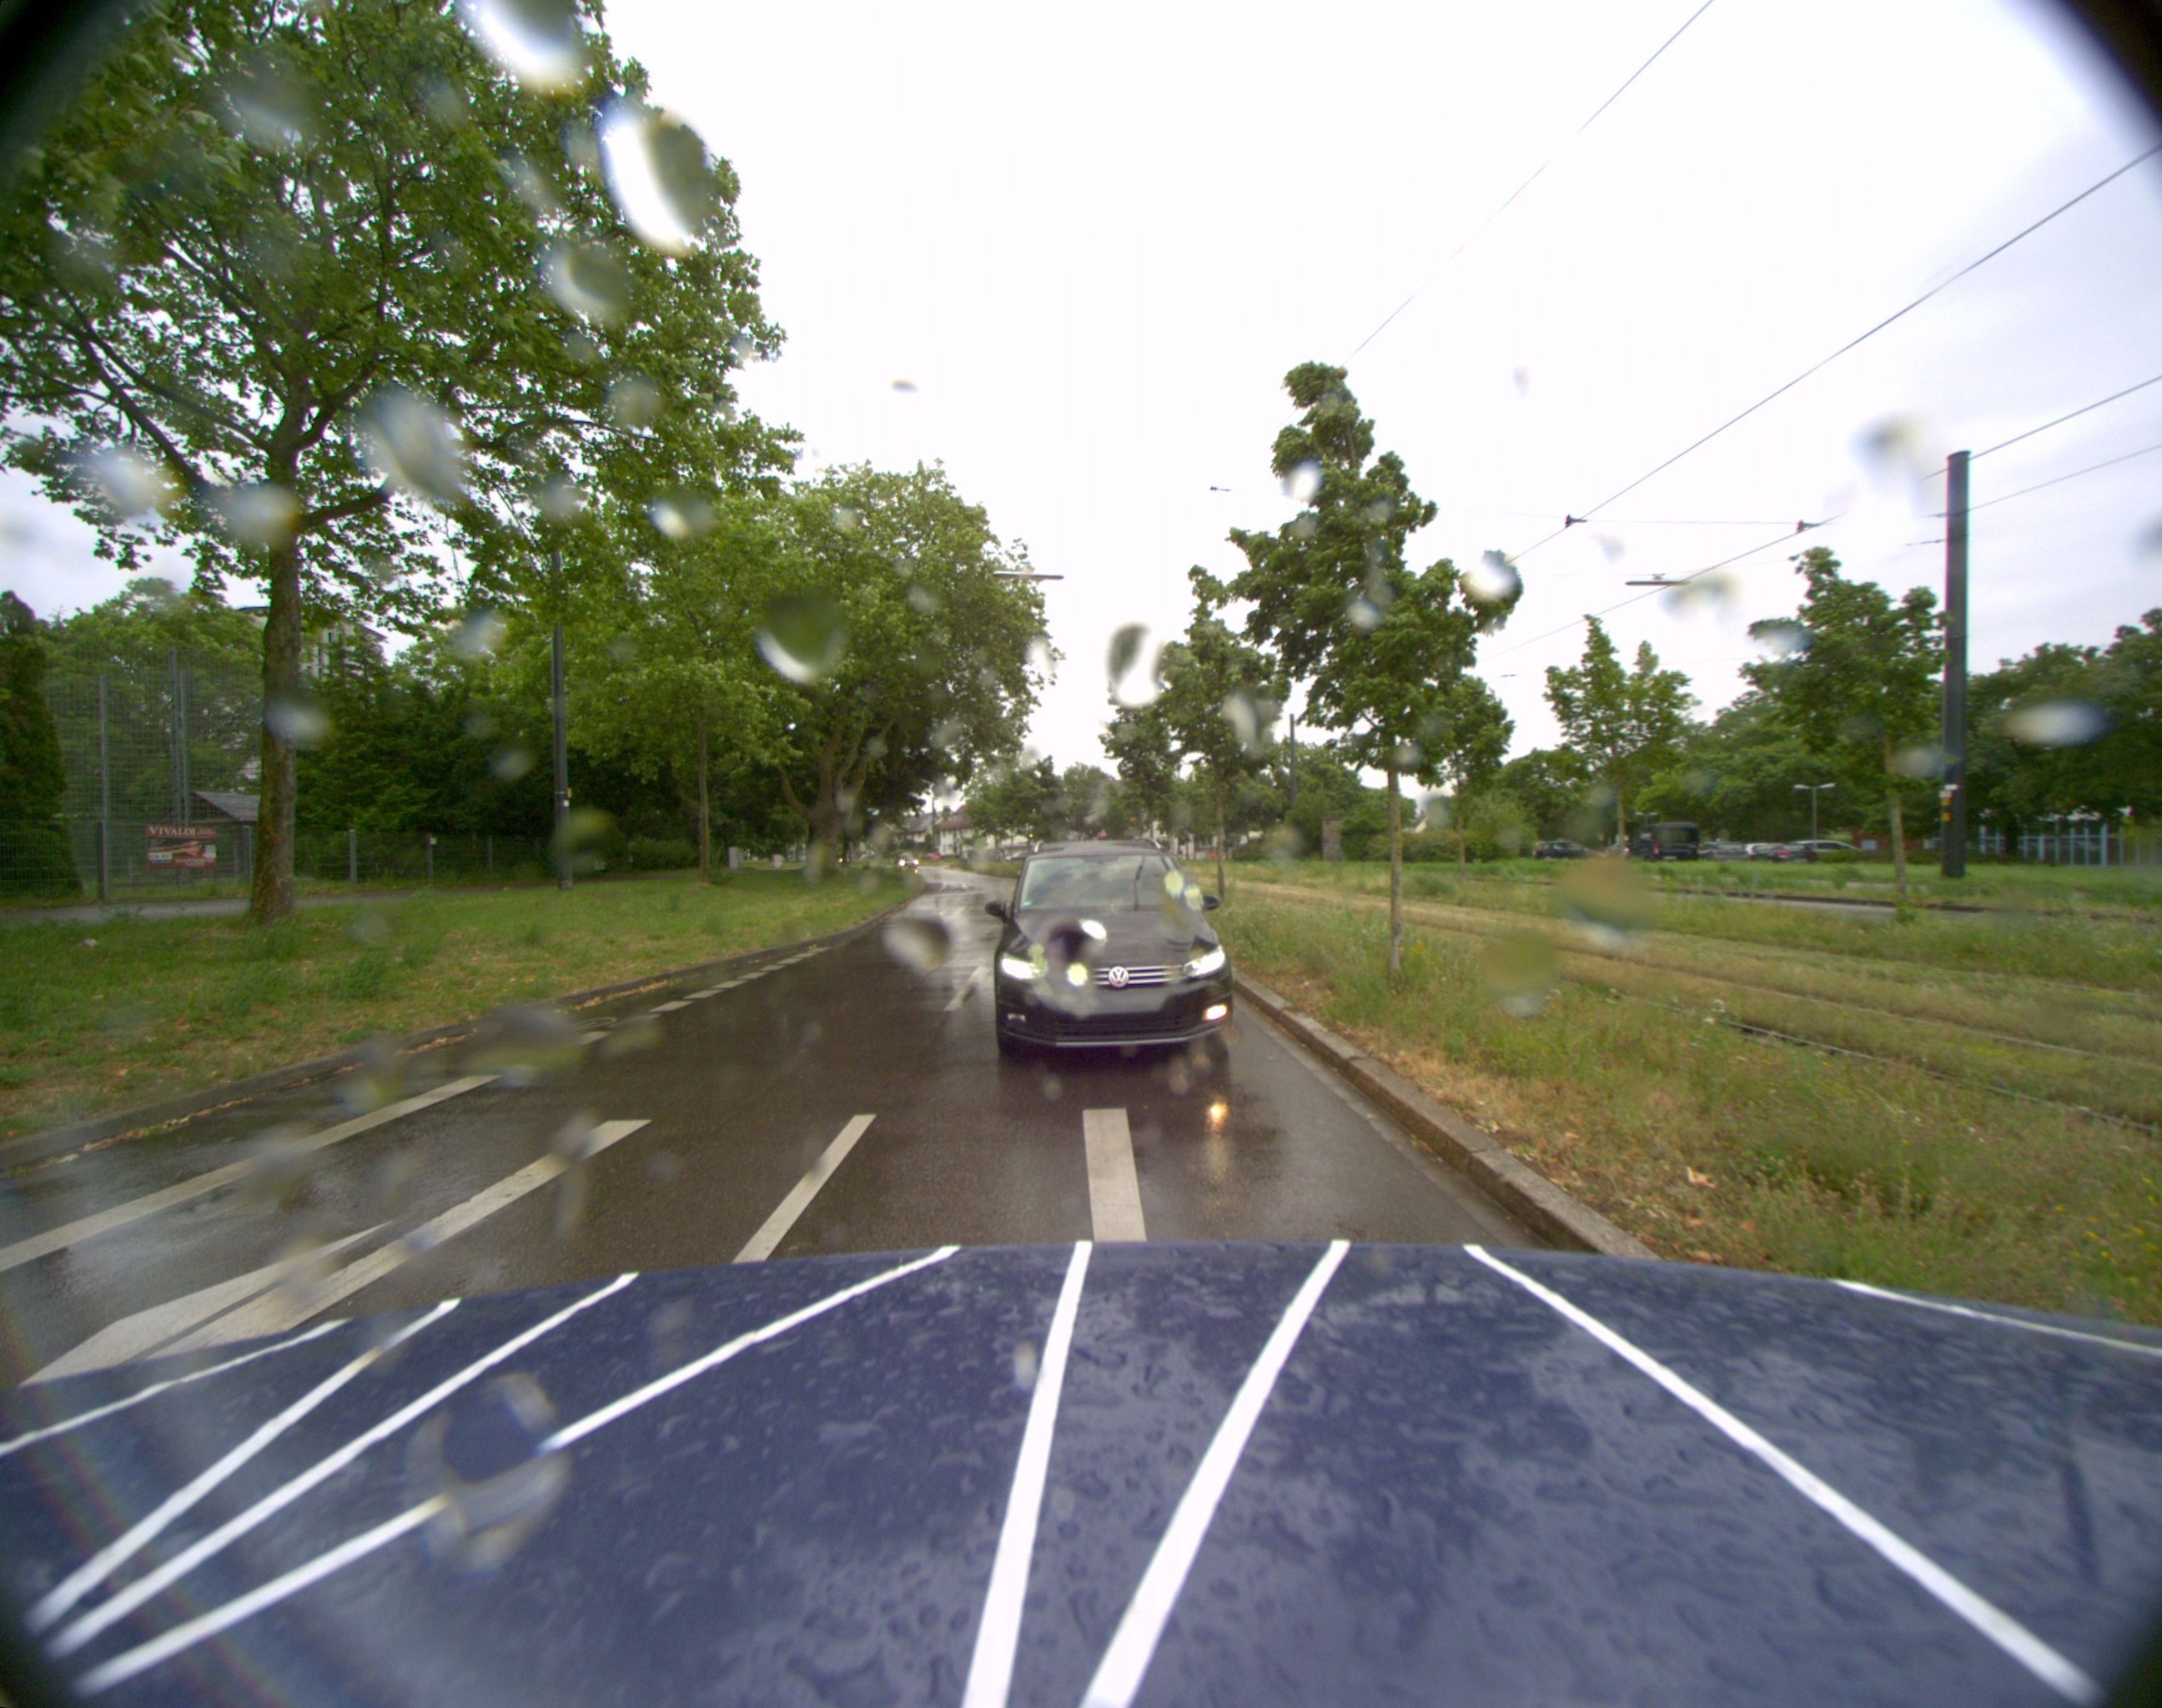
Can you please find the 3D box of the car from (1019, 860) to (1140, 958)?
[{"bbox_3d":[-0.085,0.859,13.586,1.788,1.355,3.996,-2,1,-2],"label":"car"}]

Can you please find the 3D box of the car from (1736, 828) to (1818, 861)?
[{"bbox_3d":[36.575,-0.519,40.087,2.057,1.564,5.024,-2,1,29],"label":"car"}]

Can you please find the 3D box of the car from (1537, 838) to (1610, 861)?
[{"bbox_3d":[34.763,-0.337,53.751,4.172,1.474,1.786,-2,1,27],"label":"car"}]

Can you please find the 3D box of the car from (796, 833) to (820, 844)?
[{"bbox_3d":[-51.622,-2.961,143.830,4.004,1.816,1.996,-3,1,-24],"label":"car"}]

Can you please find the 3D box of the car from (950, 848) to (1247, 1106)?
[{"bbox_3d":[0.142,0.788,7.191,1.866,1.592,4.524,-2,1,1],"label":"car"}]

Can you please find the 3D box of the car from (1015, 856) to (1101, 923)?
[{"bbox_3d":[-0.674,0.800,19.081,1.789,1.396,3.791,-2,1,-6],"label":"car"}]

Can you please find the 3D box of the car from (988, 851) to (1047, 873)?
[{"bbox_3d":[-4.664,0.563,55.622,4.046,1.412,1.674,-2,1,-10],"label":"car"}]

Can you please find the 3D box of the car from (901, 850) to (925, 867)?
[{"bbox_3d":[-17.850,0.469,80.514,1.875,1.608,3.802,-3,1,-21],"label":"car"}]

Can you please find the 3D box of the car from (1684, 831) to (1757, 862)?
[{"bbox_3d":[34.641,-0.432,41.285,1.752,1.522,4.856,-2,1,24],"label":"car"}]

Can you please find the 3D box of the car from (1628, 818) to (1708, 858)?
[{"bbox_3d":[31.997,-0.883,41.600,2.307,2.002,5.125,-2,1,24],"label":"car"}]
